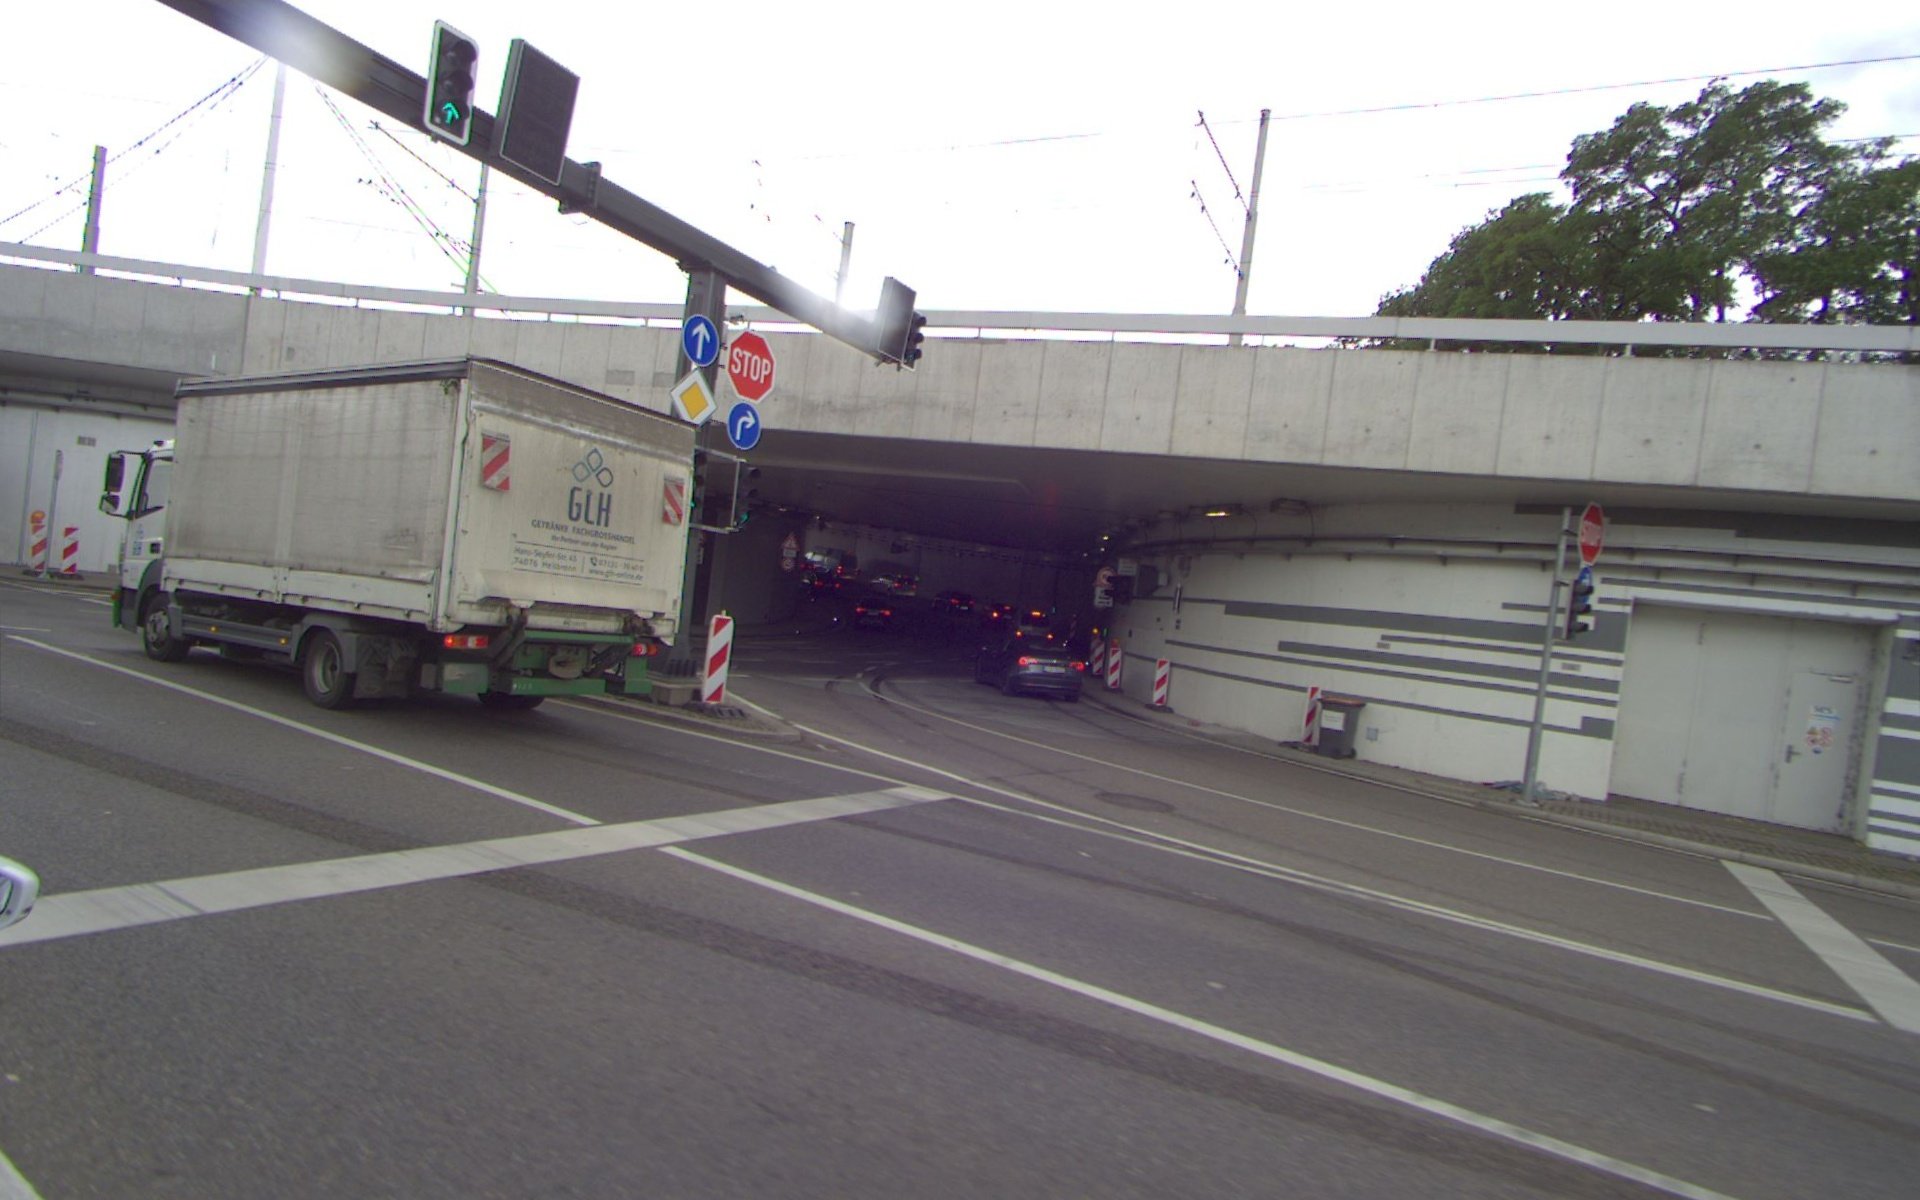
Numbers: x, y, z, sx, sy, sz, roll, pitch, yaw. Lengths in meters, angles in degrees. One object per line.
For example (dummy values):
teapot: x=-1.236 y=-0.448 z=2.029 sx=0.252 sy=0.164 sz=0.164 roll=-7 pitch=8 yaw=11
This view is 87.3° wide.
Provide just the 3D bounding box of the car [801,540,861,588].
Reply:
car: x=-10.255 y=-2.858 z=79.570 sx=4.374 sy=2.957 sz=1.990 roll=14 pitch=5 yaw=43

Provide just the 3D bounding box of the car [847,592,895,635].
car: x=-4.370 y=0.632 z=48.987 sx=1.803 sy=1.610 sz=3.988 roll=7 pitch=2 yaw=-11

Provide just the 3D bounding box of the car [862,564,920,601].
car: x=-5.029 y=-1.263 z=73.180 sx=1.942 sy=1.925 sz=4.188 roll=5 pitch=6 yaw=-40

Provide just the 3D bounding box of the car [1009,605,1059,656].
car: x=3.390 y=1.336 z=46.092 sx=1.962 sy=1.860 sz=4.356 roll=7 pitch=2 yaw=4

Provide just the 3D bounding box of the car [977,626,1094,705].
car: x=1.705 y=1.515 z=24.420 sx=1.964 sy=1.419 sz=4.463 roll=6 pitch=0 yaw=-6

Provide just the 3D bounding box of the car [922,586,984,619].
car: x=-0.508 y=0.130 z=65.871 sx=2.118 sy=1.648 sz=4.365 roll=7 pitch=1 yaw=-28

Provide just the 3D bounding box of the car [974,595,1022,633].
car: x=2.154 y=0.792 z=58.272 sx=1.819 sy=1.679 sz=4.347 roll=7 pitch=2 yaw=-10

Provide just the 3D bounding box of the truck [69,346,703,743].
truck: x=-6.614 y=-0.708 z=11.164 sx=7.302 sy=3.223 sz=2.654 roll=7 pitch=0 yaw=31

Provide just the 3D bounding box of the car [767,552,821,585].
car: x=-12.719 y=-2.419 z=76.841 sx=1.839 sy=1.678 sz=4.303 roll=9 pitch=4 yaw=-43

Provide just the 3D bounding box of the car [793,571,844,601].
car: x=-9.243 y=-0.906 z=65.502 sx=1.674 sy=1.351 sz=3.631 roll=7 pitch=3 yaw=-35
